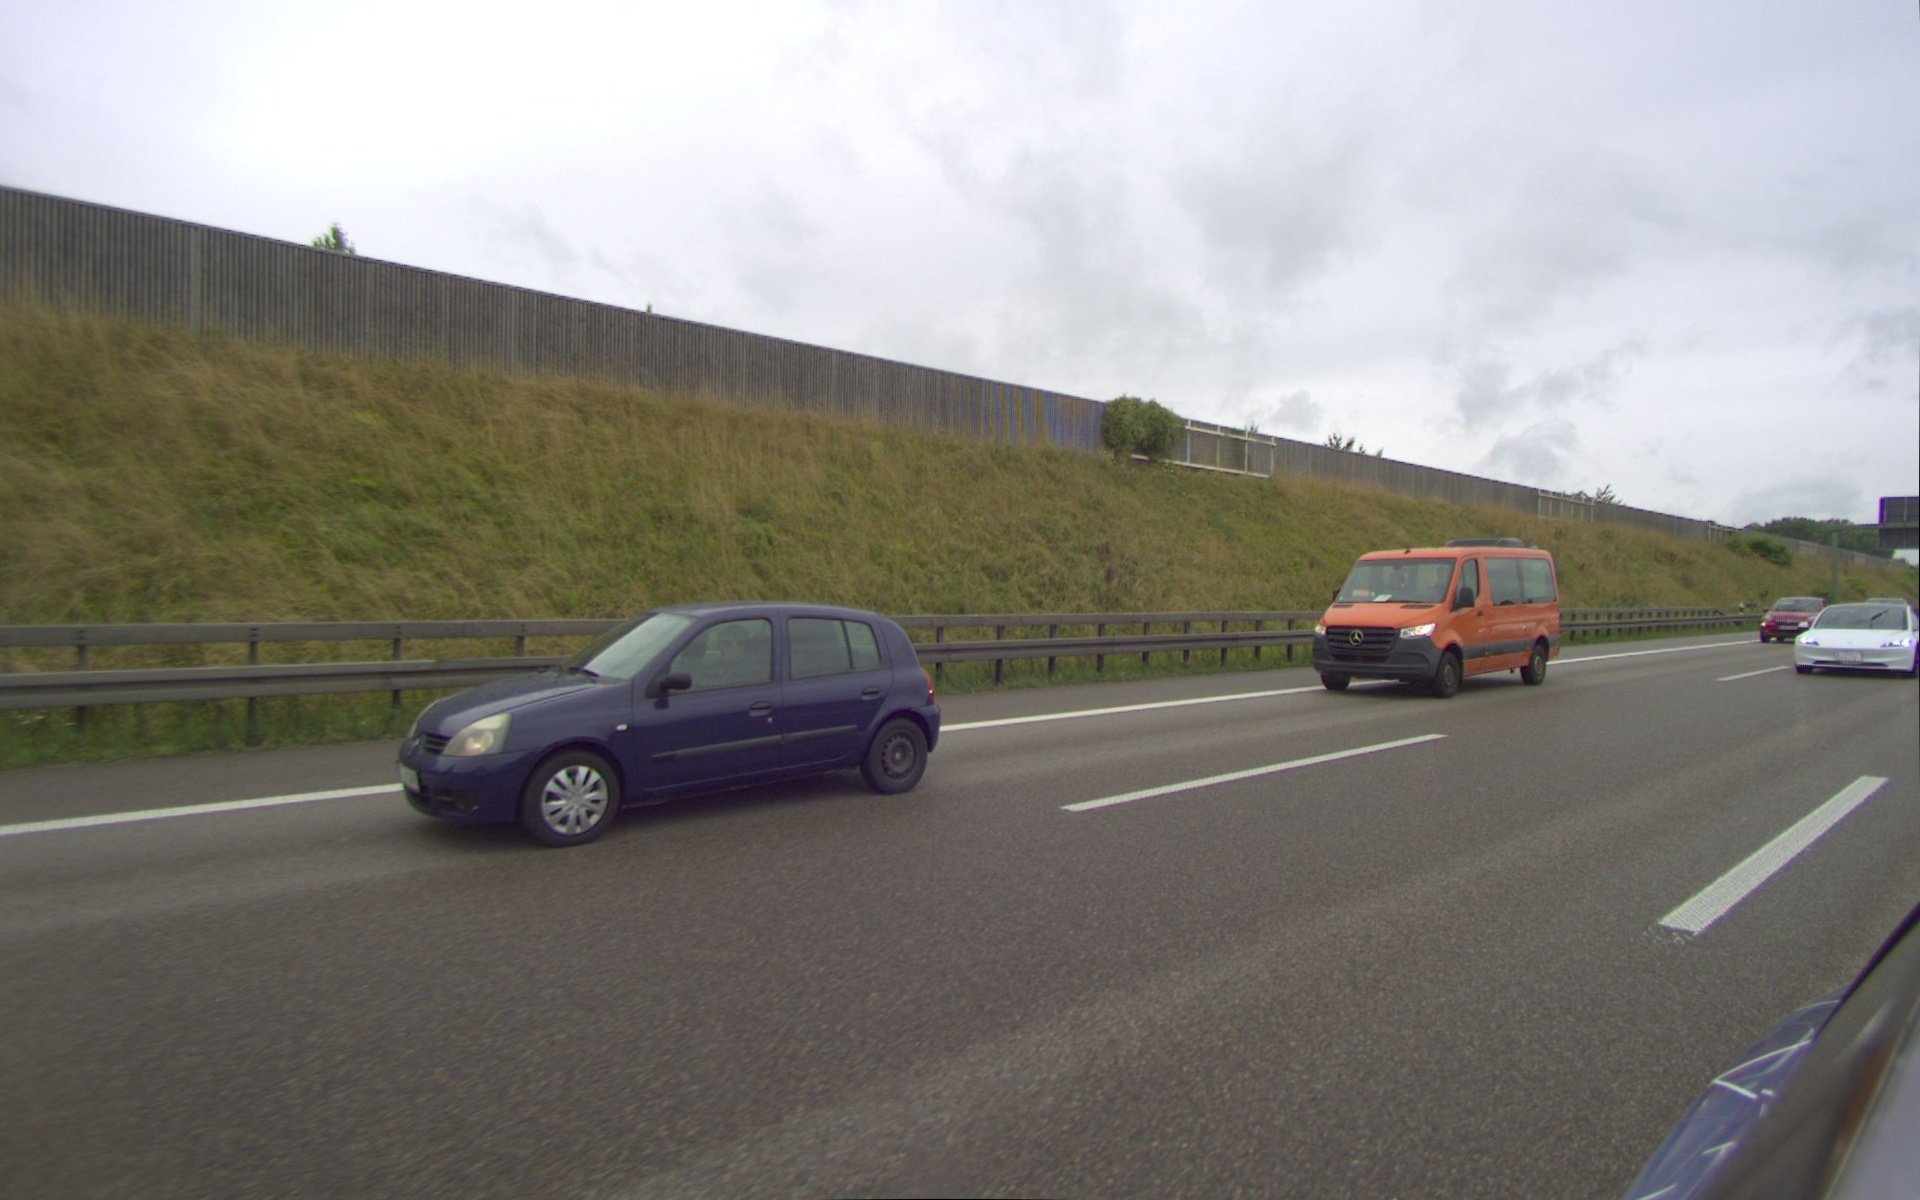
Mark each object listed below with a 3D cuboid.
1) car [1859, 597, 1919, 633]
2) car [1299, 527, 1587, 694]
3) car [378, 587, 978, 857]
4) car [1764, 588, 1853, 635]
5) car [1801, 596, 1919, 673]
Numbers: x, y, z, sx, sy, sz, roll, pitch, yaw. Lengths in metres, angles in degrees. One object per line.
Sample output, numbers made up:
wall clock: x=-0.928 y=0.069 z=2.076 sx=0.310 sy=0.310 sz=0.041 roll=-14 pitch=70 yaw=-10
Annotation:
car: x=42.940 y=0.659 z=46.519 sx=4.409 sy=1.508 sz=1.927 roll=-1 pitch=0 yaw=-42
car: x=8.269 y=0.131 z=16.990 sx=6.072 sy=2.344 sz=2.090 roll=0 pitch=0 yaw=-41
car: x=-1.846 y=0.635 z=7.275 sx=3.808 sy=1.419 sz=1.705 roll=-1 pitch=0 yaw=-41
car: x=30.039 y=0.386 z=35.801 sx=3.931 sy=1.555 sz=1.876 roll=-1 pitch=0 yaw=-42
car: x=19.111 y=0.643 z=20.981 sx=4.729 sy=1.380 sz=1.876 roll=-1 pitch=0 yaw=-41
